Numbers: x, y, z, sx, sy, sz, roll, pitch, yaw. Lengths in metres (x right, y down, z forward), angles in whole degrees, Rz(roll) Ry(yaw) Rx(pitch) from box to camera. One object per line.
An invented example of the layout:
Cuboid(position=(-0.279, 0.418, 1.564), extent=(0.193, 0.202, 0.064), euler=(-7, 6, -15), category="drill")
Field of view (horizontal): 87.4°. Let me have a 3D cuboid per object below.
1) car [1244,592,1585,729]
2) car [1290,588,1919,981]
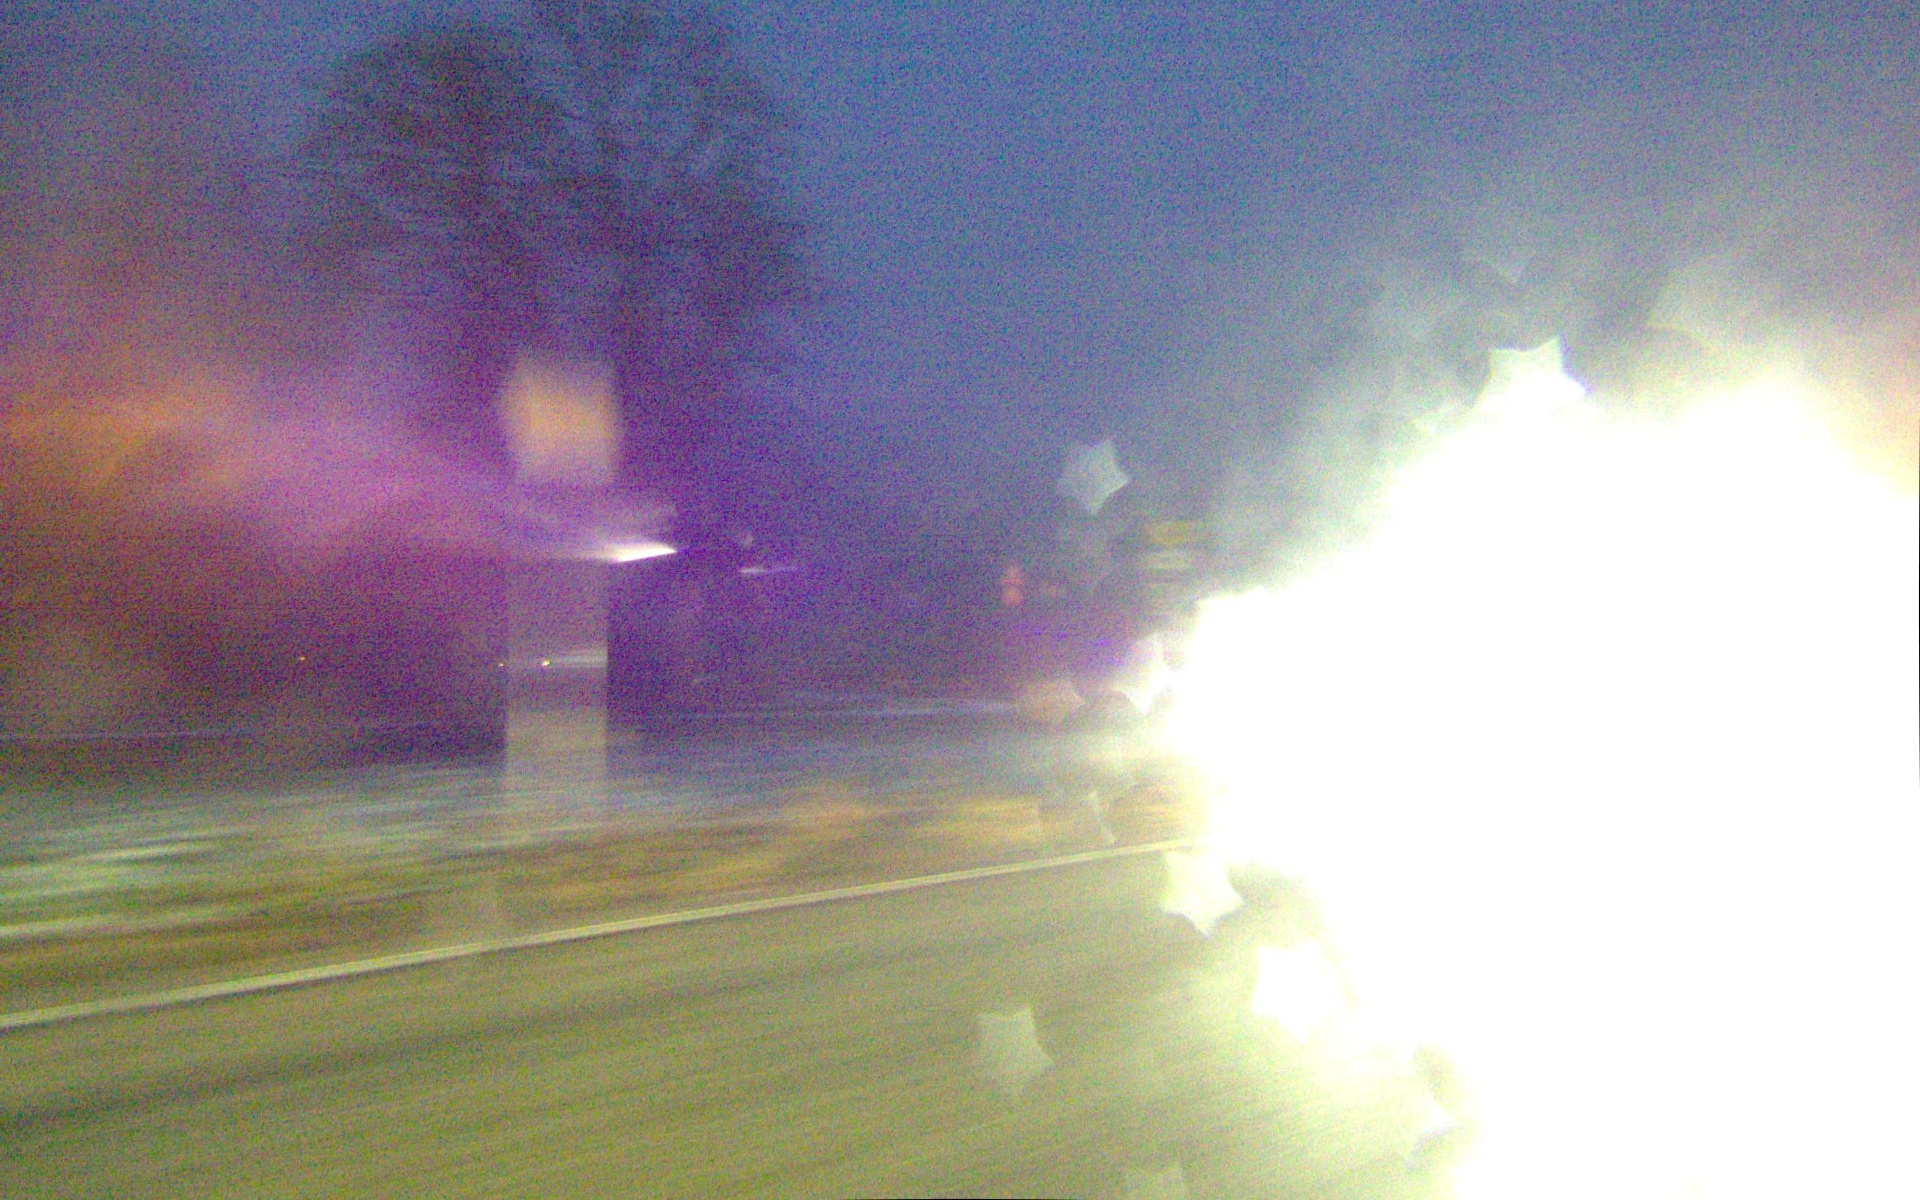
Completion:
Cuboid(position=(7.102, 0.907, 16.336), extent=(1.911, 1.862, 4.912), euler=(1, -2, -29), category="car")
Cuboid(position=(4.074, 0.797, 5.947), extent=(4.145, 1.593, 1.792), euler=(2, 0, -32), category="car")
